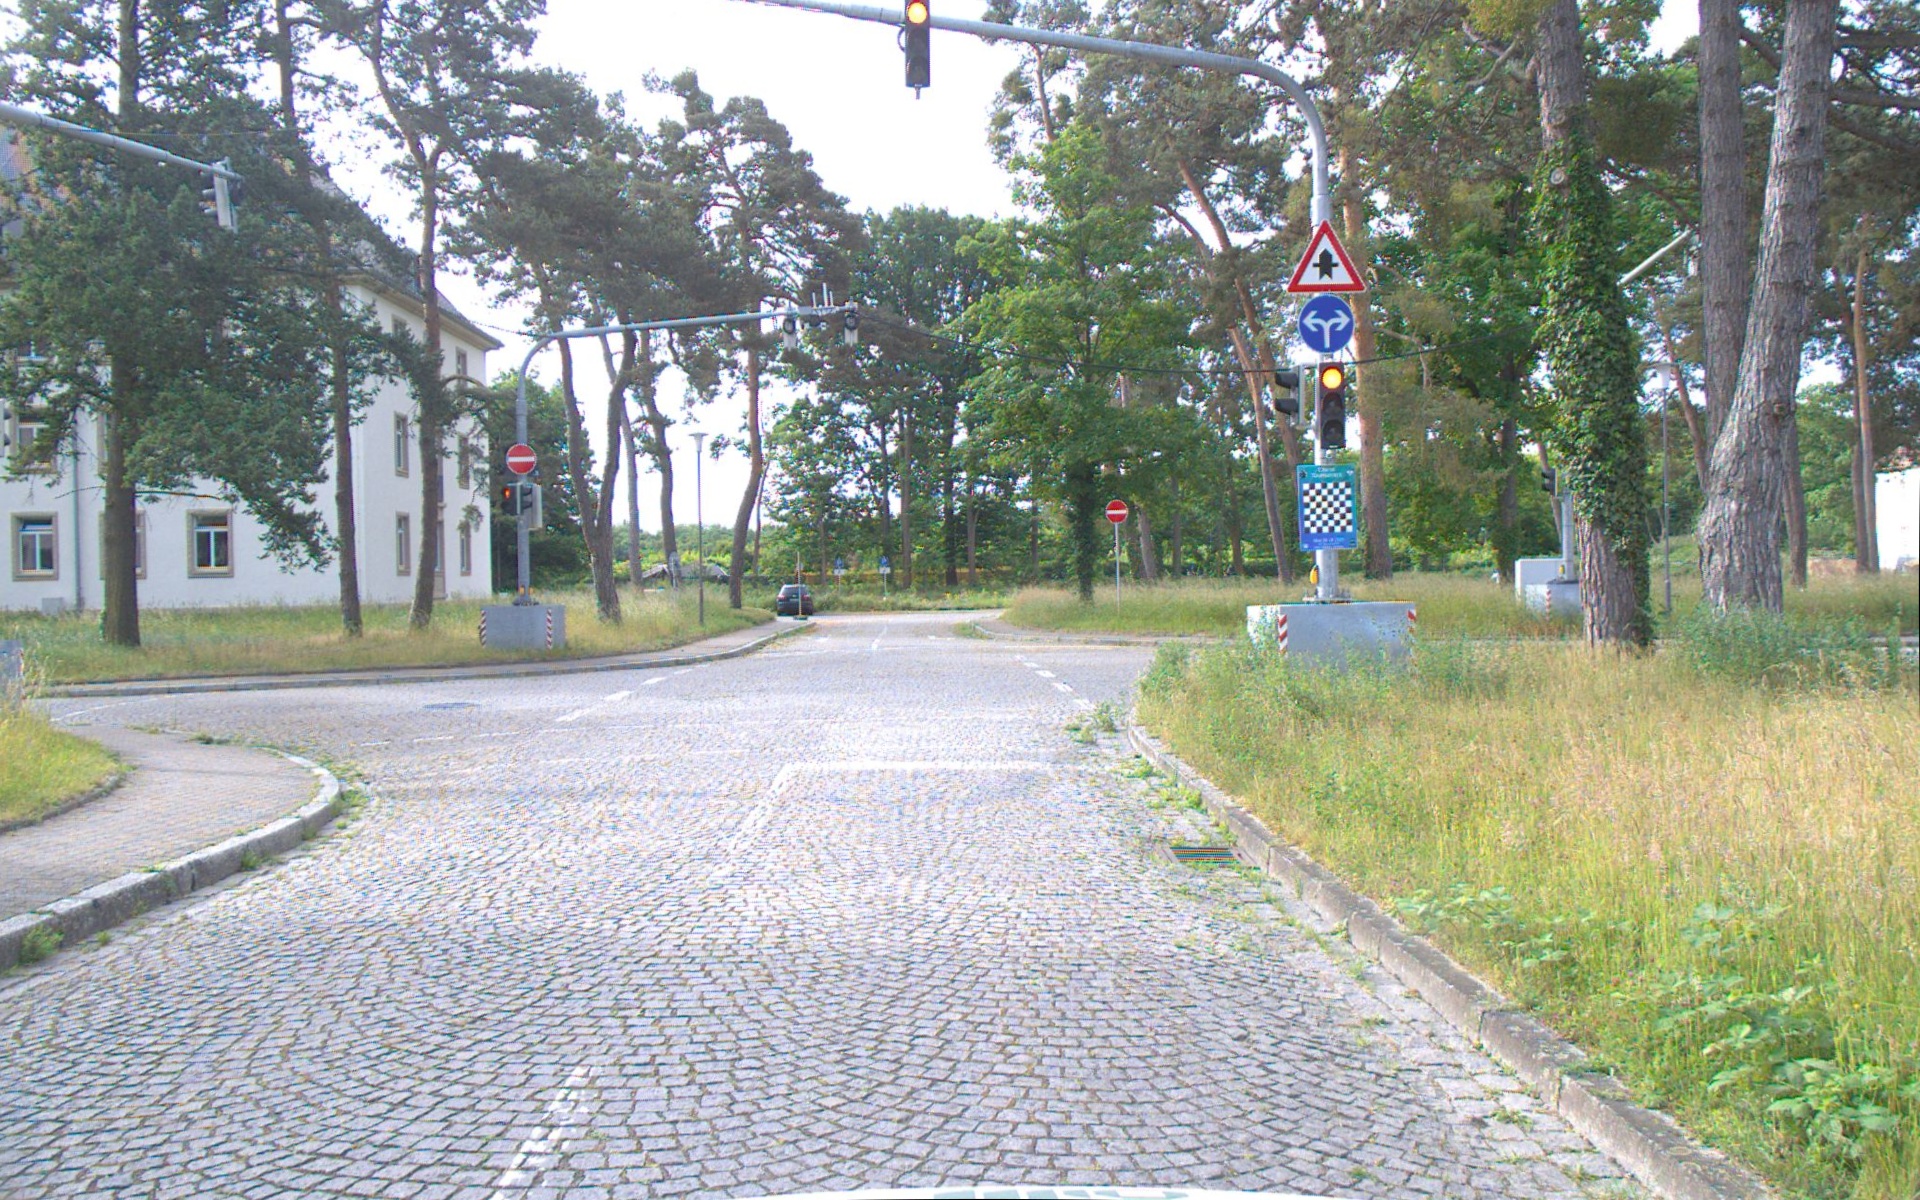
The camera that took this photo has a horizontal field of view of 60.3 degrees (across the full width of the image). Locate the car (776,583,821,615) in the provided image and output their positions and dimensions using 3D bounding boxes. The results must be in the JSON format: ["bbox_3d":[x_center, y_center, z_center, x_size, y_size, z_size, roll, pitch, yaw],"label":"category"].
[{"bbox_3d":[-8.207,-0.068,84.382,1.953,1.534,4.000,0,1,-1],"label":"car"}]

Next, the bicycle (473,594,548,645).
[{"bbox_3d":[-9.363,0.395,34.453,1.432,1.013,0.451,-2,1,-9],"label":"bicycle"}]

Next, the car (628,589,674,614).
[{"bbox_3d":[-15.865,0.059,85.055,1.654,1.176,4.000,-1,1,-1],"label":"car"}]
